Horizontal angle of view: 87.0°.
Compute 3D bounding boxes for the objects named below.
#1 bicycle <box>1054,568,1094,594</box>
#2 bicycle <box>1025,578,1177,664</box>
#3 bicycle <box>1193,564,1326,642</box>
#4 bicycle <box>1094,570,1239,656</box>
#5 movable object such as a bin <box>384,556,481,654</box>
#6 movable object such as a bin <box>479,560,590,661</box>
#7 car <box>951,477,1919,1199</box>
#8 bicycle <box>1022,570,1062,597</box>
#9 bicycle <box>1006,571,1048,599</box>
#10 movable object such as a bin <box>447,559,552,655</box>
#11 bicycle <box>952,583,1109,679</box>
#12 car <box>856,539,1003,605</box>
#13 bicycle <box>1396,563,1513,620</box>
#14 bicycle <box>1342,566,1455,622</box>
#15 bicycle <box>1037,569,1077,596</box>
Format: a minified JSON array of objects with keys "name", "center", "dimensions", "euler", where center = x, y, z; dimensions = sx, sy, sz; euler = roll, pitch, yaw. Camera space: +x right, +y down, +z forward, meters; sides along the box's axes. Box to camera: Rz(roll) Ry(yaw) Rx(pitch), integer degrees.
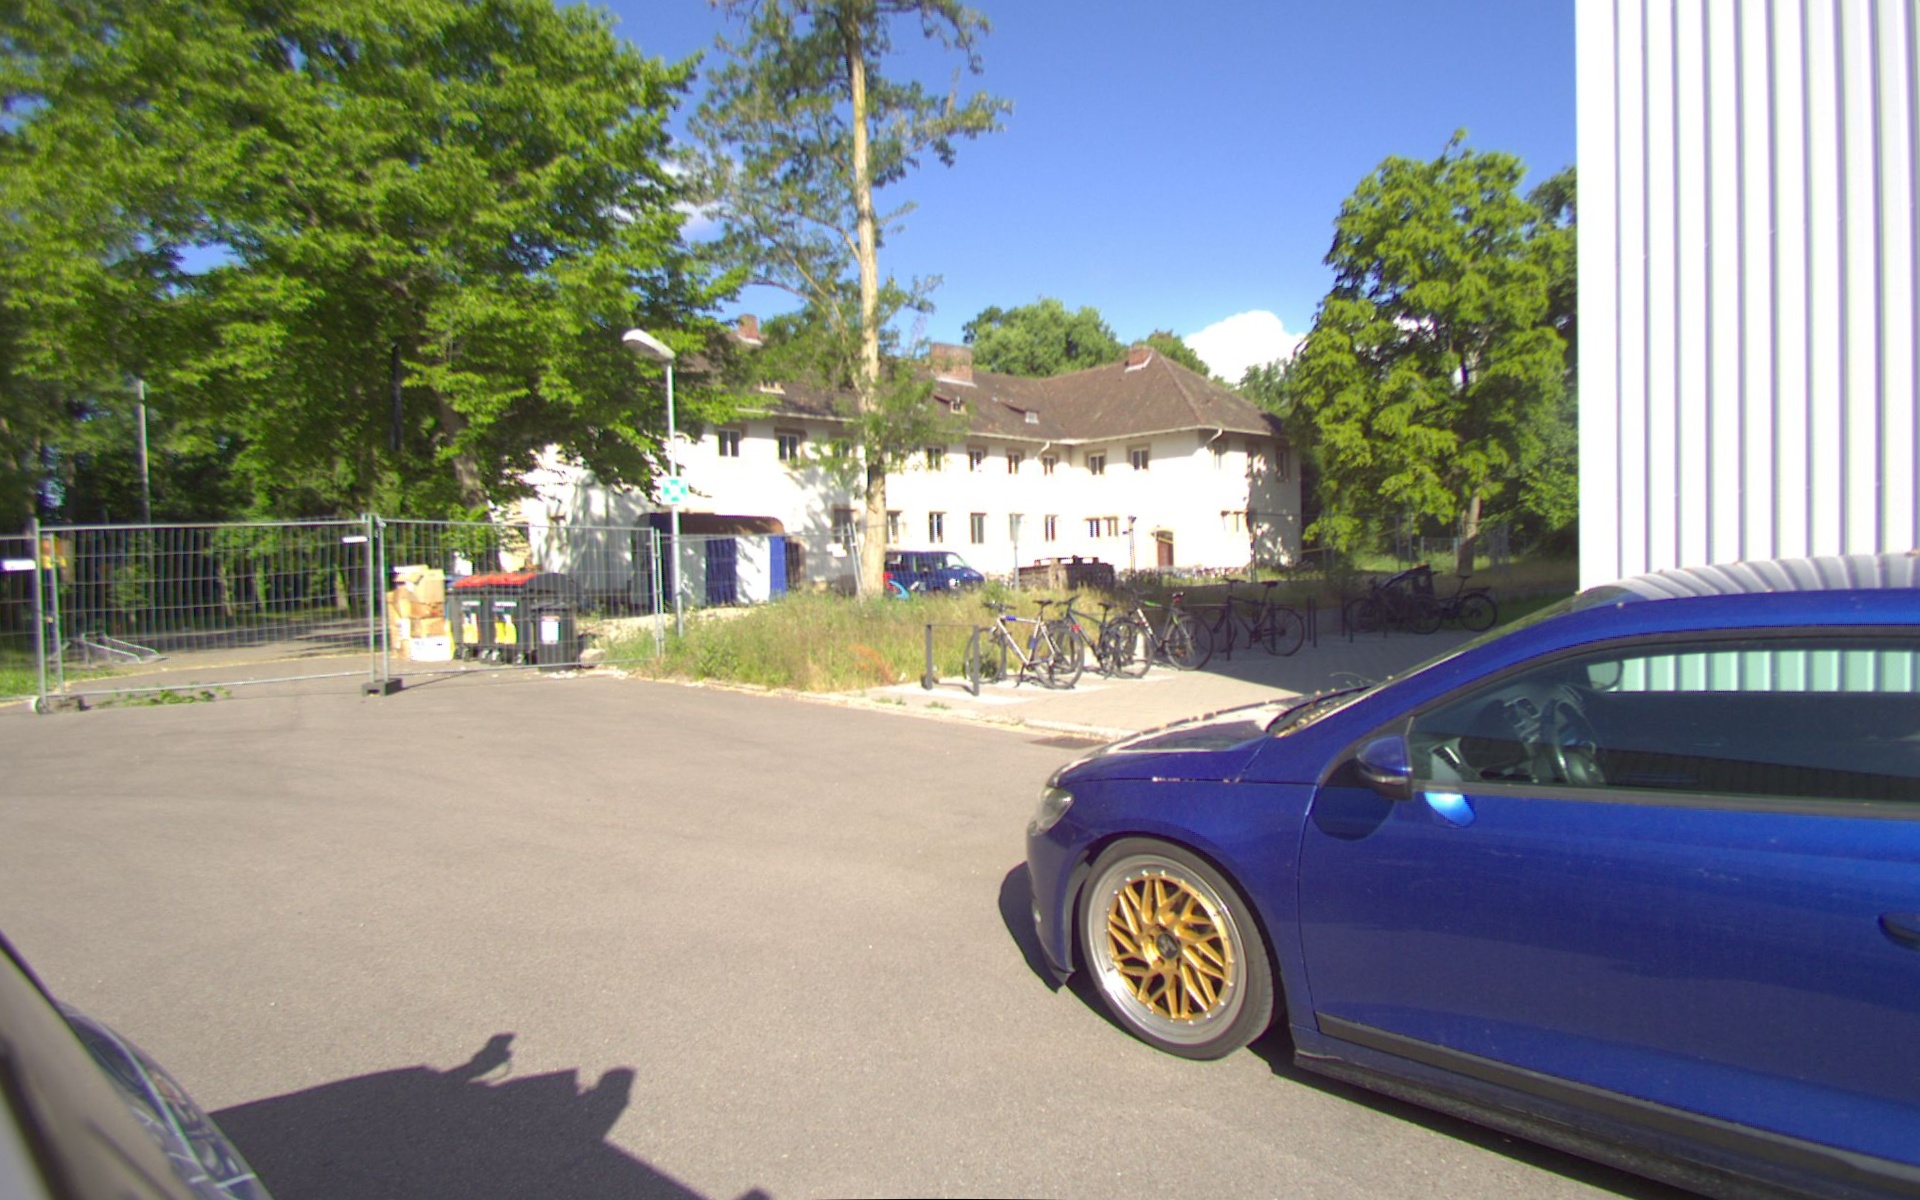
[{"name":"bicycle","center":[5.303,-0.891,47.210],"dimensions":[0.783,1.141,1.847],"euler":[-4,5,-39]},{"name":"bicycle","center":[1.678,0.240,12.286],"dimensions":[1.833,0.967,0.475],"euler":[0,3,41]},{"name":"bicycle","center":[4.438,0.043,15.084],"dimensions":[1.834,1.096,0.475],"euler":[0,3,41]},{"name":"bicycle","center":[2.657,0.161,13.173],"dimensions":[1.830,1.045,0.475],"euler":[0,3,41]},{"name":"movable object such as a bin","center":[-9.181,0.055,17.615],"dimensions":[1.230,1.609,1.079],"euler":[2,4,40]},{"name":"movable object such as a bin","center":[-6.580,0.128,15.640],"dimensions":[1.230,1.443,1.079],"euler":[0,4,40]},{"name":"car","center":[2.032,0.431,2.530],"dimensions":[1.754,1.370,4.056],"euler":[-4,3,-44]},{"name":"bicycle","center":[3.705,-0.755,45.820],"dimensions":[0.784,1.141,1.825],"euler":[-4,5,-39]},{"name":"bicycle","center":[2.982,-0.691,45.152],"dimensions":[0.783,1.141,1.838],"euler":[-4,5,-39]},{"name":"movable object such as a bin","center":[-7.533,0.092,16.574],"dimensions":[1.230,1.450,1.079],"euler":[0,4,40]},{"name":"bicycle","center":[0.772,0.329,11.509],"dimensions":[1.834,0.994,0.475],"euler":[0,3,41]},{"name":"car","center":[-1.092,-0.984,33.790],"dimensions":[4.877,2.026,2.030],"euler":[2,5,43]},{"name":"bicycle","center":[8.972,-0.147,18.408],"dimensions":[1.834,0.967,0.475],"euler":[0,3,41]},{"name":"bicycle","center":[8.022,-0.114,18.562],"dimensions":[1.813,0.967,0.475],"euler":[0,3,41]},{"name":"bicycle","center":[4.423,-0.815,46.430],"dimensions":[0.747,1.141,1.833],"euler":[-4,5,-39]}]
